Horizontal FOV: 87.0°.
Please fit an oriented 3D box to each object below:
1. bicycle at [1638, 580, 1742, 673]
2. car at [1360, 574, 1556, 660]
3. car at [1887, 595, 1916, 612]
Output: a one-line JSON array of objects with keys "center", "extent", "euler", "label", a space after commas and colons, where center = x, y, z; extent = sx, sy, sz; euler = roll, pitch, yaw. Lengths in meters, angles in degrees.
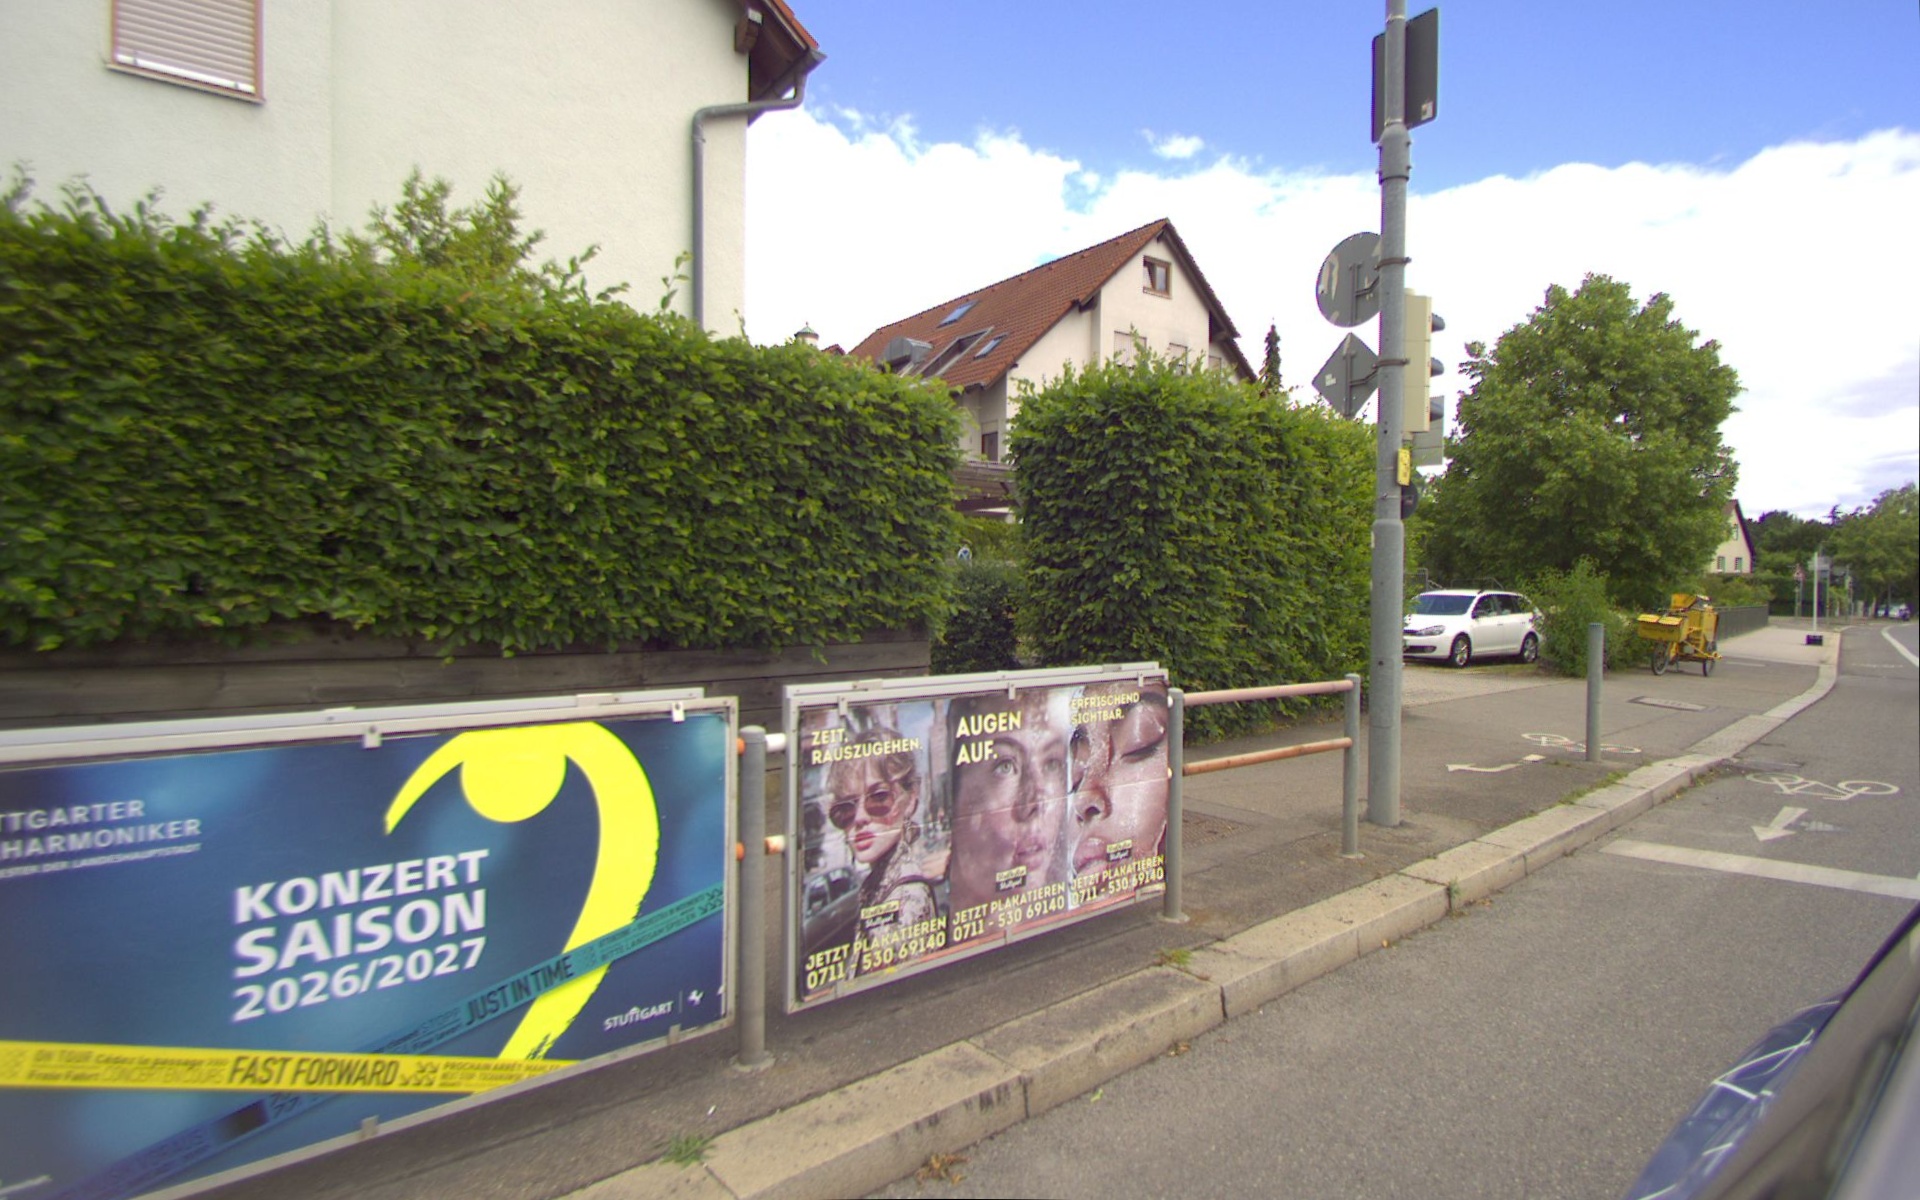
[{"center": [13.442, 0.453, 18.596], "extent": [2.735, 1.528, 0.893], "euler": [1, 5, -42], "label": "bicycle"}, {"center": [9.815, 0.348, 19.868], "extent": [3.981, 1.523, 1.676], "euler": [2, 0, -34], "label": "car"}, {"center": [83.183, 0.279, 89.389], "extent": [3.479, 1.367, 1.560], "euler": [1, 3, -43], "label": "car"}]
